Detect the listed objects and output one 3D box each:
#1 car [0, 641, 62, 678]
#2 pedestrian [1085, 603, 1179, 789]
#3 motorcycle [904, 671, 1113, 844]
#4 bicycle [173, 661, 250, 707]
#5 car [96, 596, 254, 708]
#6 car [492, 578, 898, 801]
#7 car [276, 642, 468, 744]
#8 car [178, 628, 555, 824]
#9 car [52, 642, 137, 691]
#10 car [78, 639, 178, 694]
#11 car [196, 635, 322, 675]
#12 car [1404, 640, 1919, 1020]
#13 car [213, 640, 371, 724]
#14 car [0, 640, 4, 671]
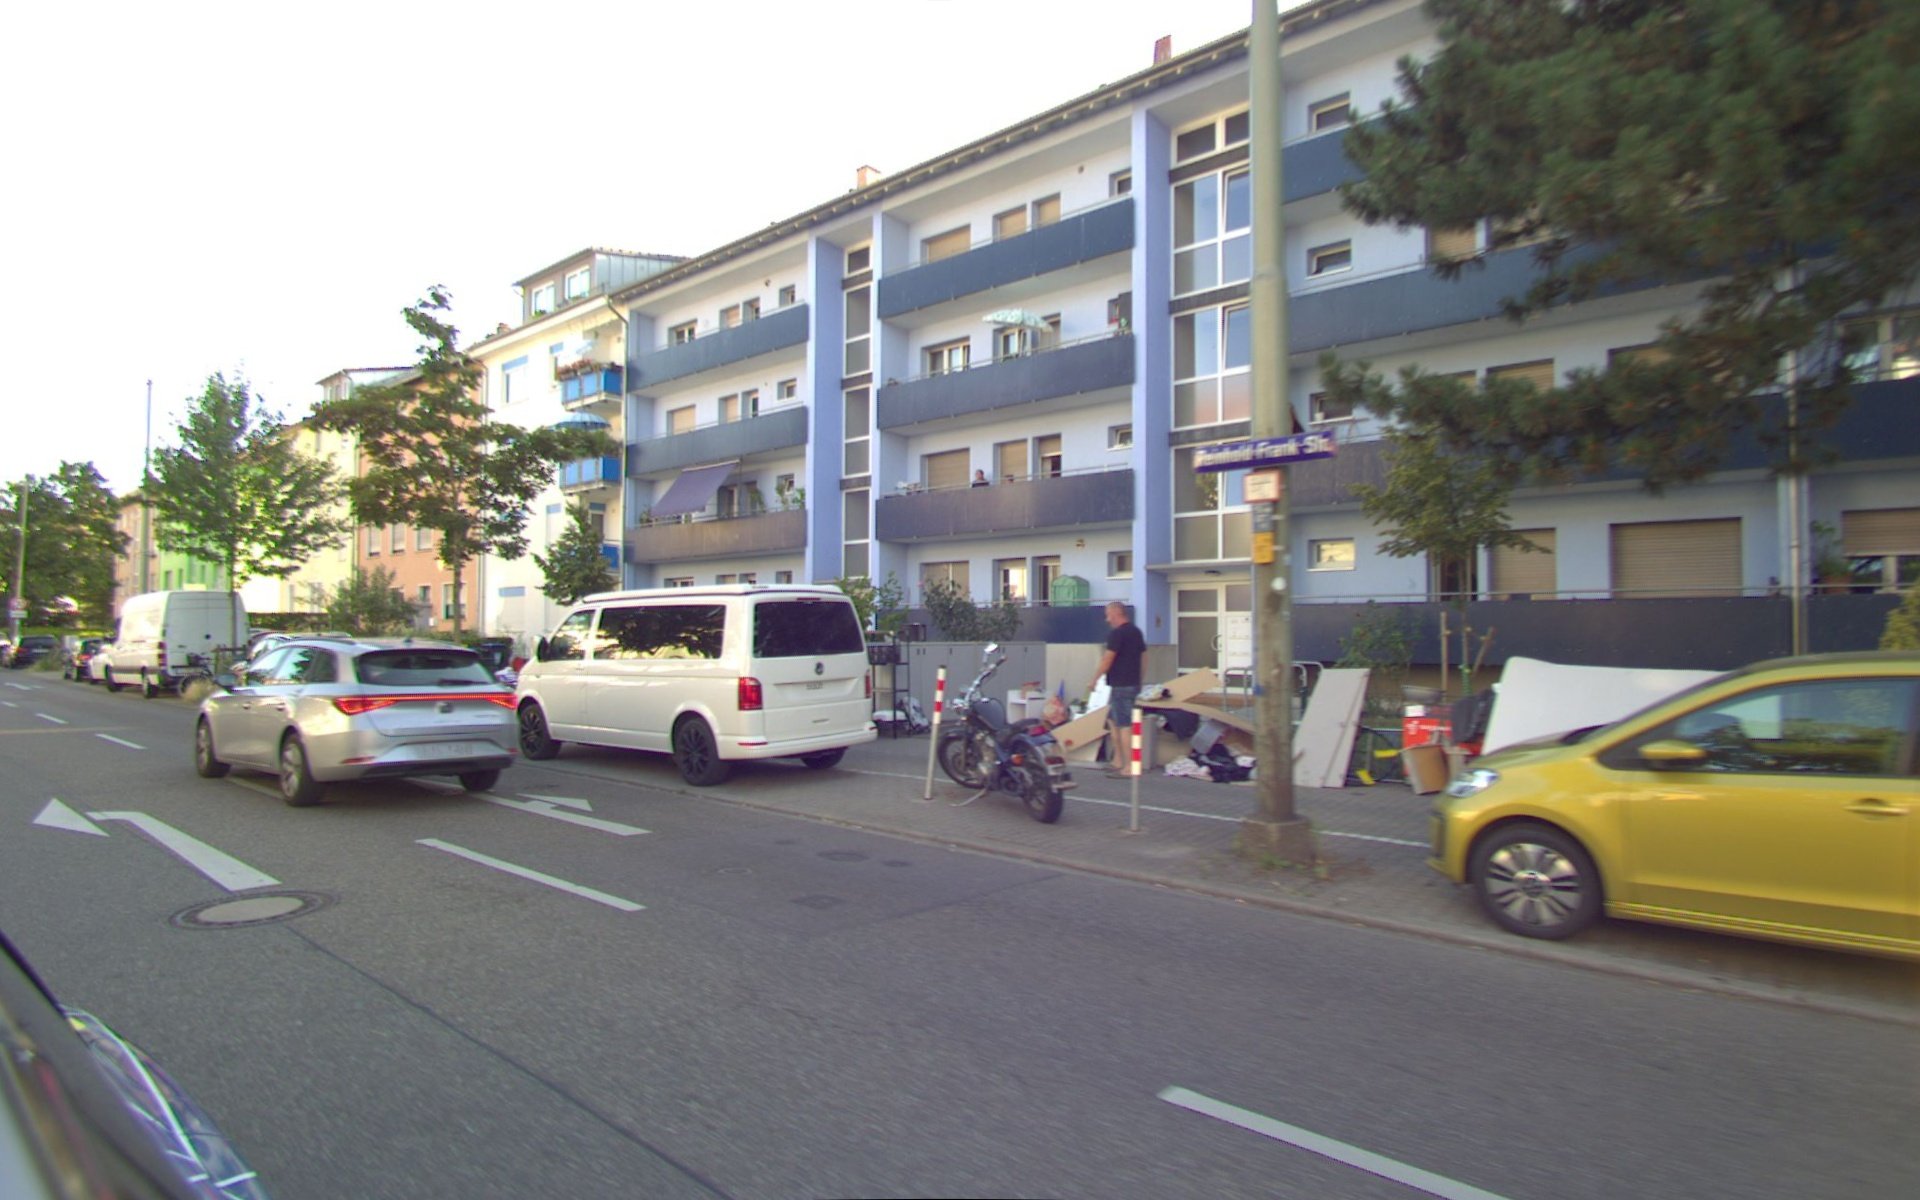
[{"bbox_3d":[-40.356,2.522,43.705,4.585,1.516,1.760,-2,-2,41],"label":"car"},{"bbox_3d":[1.735,0.942,10.229,0.695,1.784,0.655,-2,-3,40],"label":"pedestrian"},{"bbox_3d":[0.319,1.228,8.568,0.649,1.213,2.339,2,-4,-28],"label":"motorcycle"},{"bbox_3d":[-17.973,1.999,24.321,1.454,1.022,0.440,0,-2,-42],"label":"bicycle"},{"bbox_3d":[-21.001,1.336,26.913,7.100,2.636,1.973,-2,-2,41],"label":"car"},{"bbox_3d":[-3.272,0.899,11.721,5.296,2.047,1.850,-2,-2,40],"label":"car"},{"bbox_3d":[-9.987,1.461,17.059,4.143,1.495,1.674,-2,-3,43],"label":"car"},{"bbox_3d":[-5.870,1.091,9.798,4.305,1.491,1.722,-2,-6,40],"label":"car"},{"bbox_3d":[-29.119,2.181,34.016,3.810,1.484,1.595,-2,-1,40],"label":"car"},{"bbox_3d":[-25.640,1.997,31.153,4.056,1.503,1.689,-2,0,41],"label":"car"},{"bbox_3d":[-28.871,2.229,41.763,1.915,1.423,3.946,-2,-1,41],"label":"car"},{"bbox_3d":[4.386,0.963,4.766,3.871,1.491,1.601,-2,-1,43],"label":"car"},{"bbox_3d":[-13.790,1.599,20.792,4.472,1.555,1.654,-2,-3,42],"label":"car"},{"bbox_3d":[-53.181,3.011,55.076,2.862,1.629,1.482,-2,-3,44],"label":"car"}]
